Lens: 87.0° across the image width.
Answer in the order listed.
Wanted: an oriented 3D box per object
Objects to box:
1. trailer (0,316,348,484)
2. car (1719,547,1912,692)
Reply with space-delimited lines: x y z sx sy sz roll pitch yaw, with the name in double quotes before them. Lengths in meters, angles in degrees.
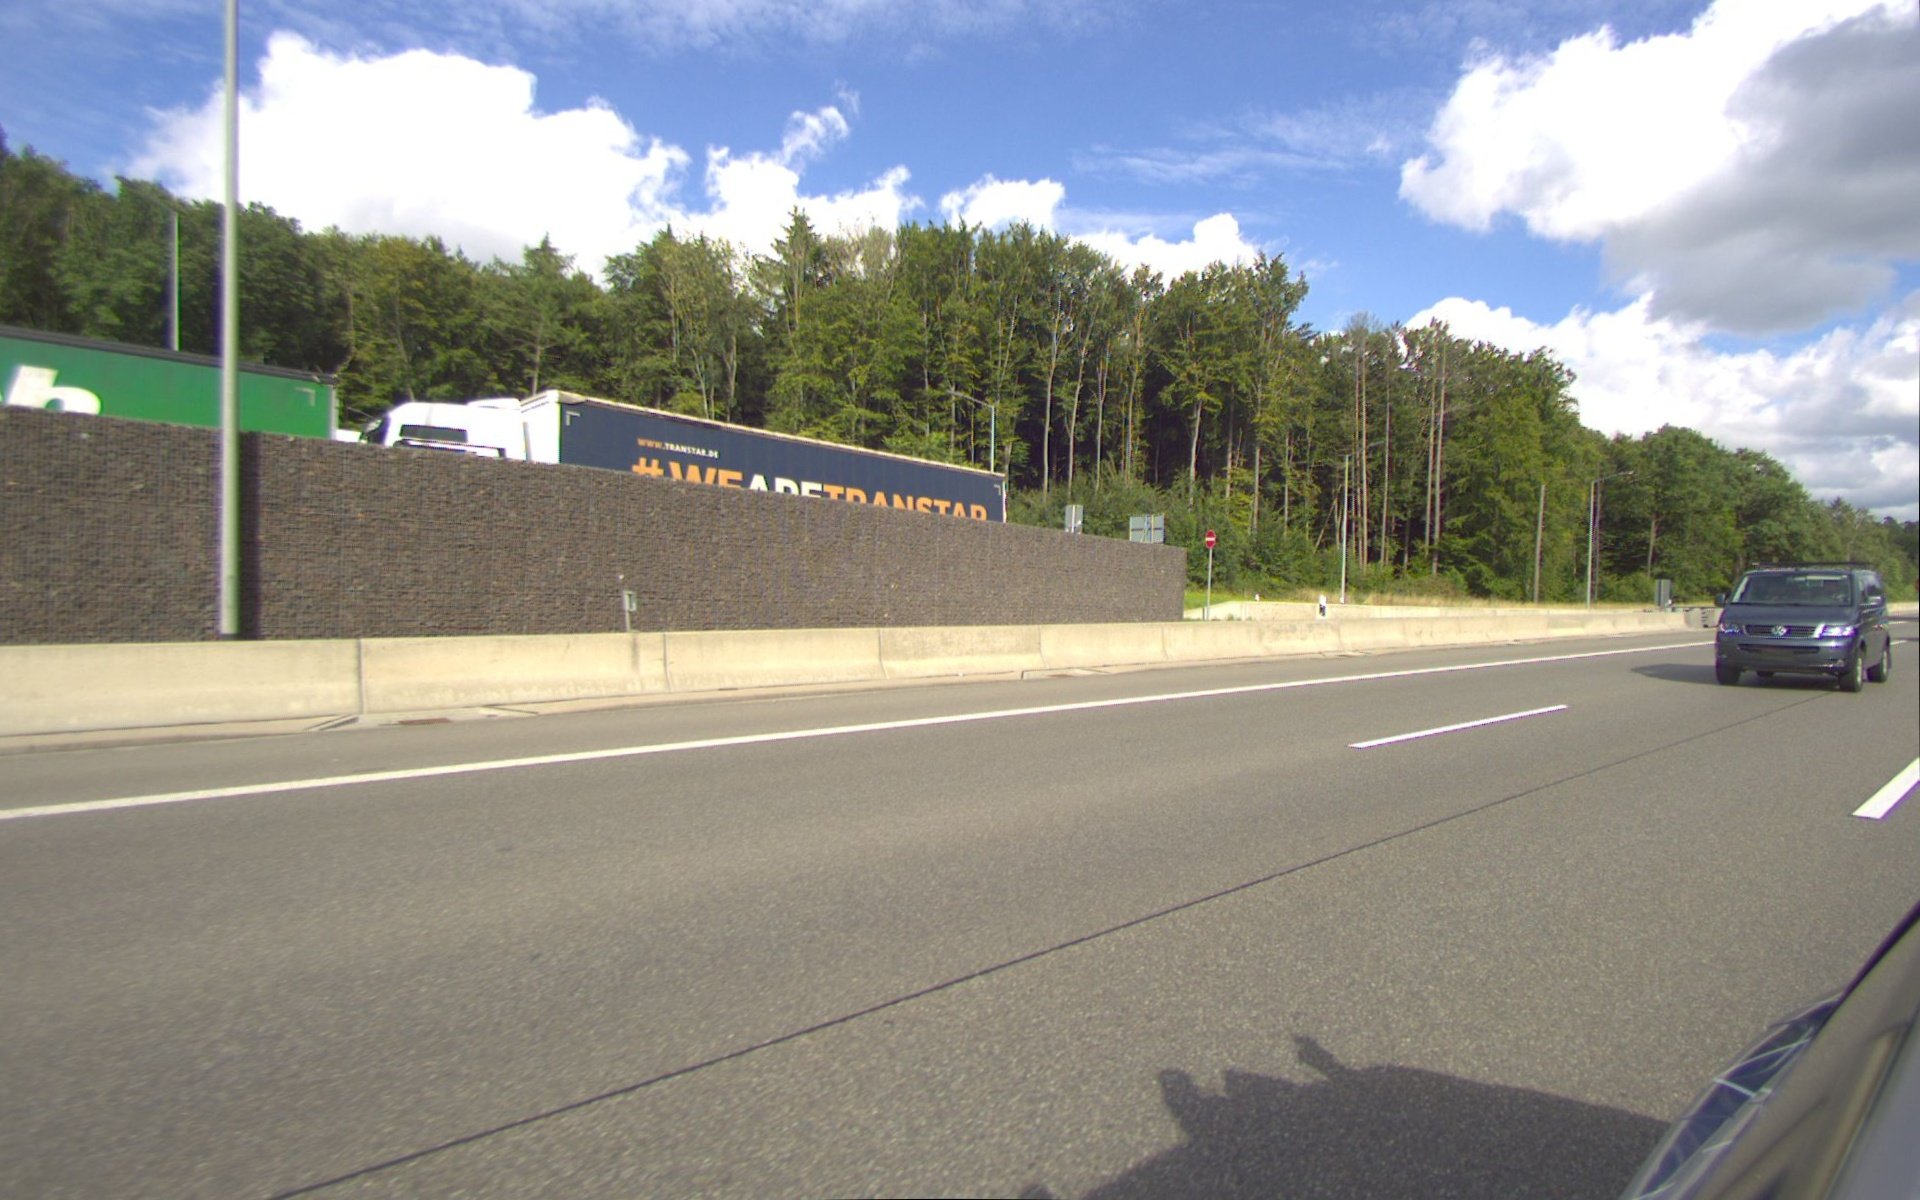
"trailer" -13.263 -3.025 15.791 6.087 2.038 1.997 -3 2 -41
"car" 15.034 0.243 17.681 4.876 2.192 1.925 -1 2 -42
